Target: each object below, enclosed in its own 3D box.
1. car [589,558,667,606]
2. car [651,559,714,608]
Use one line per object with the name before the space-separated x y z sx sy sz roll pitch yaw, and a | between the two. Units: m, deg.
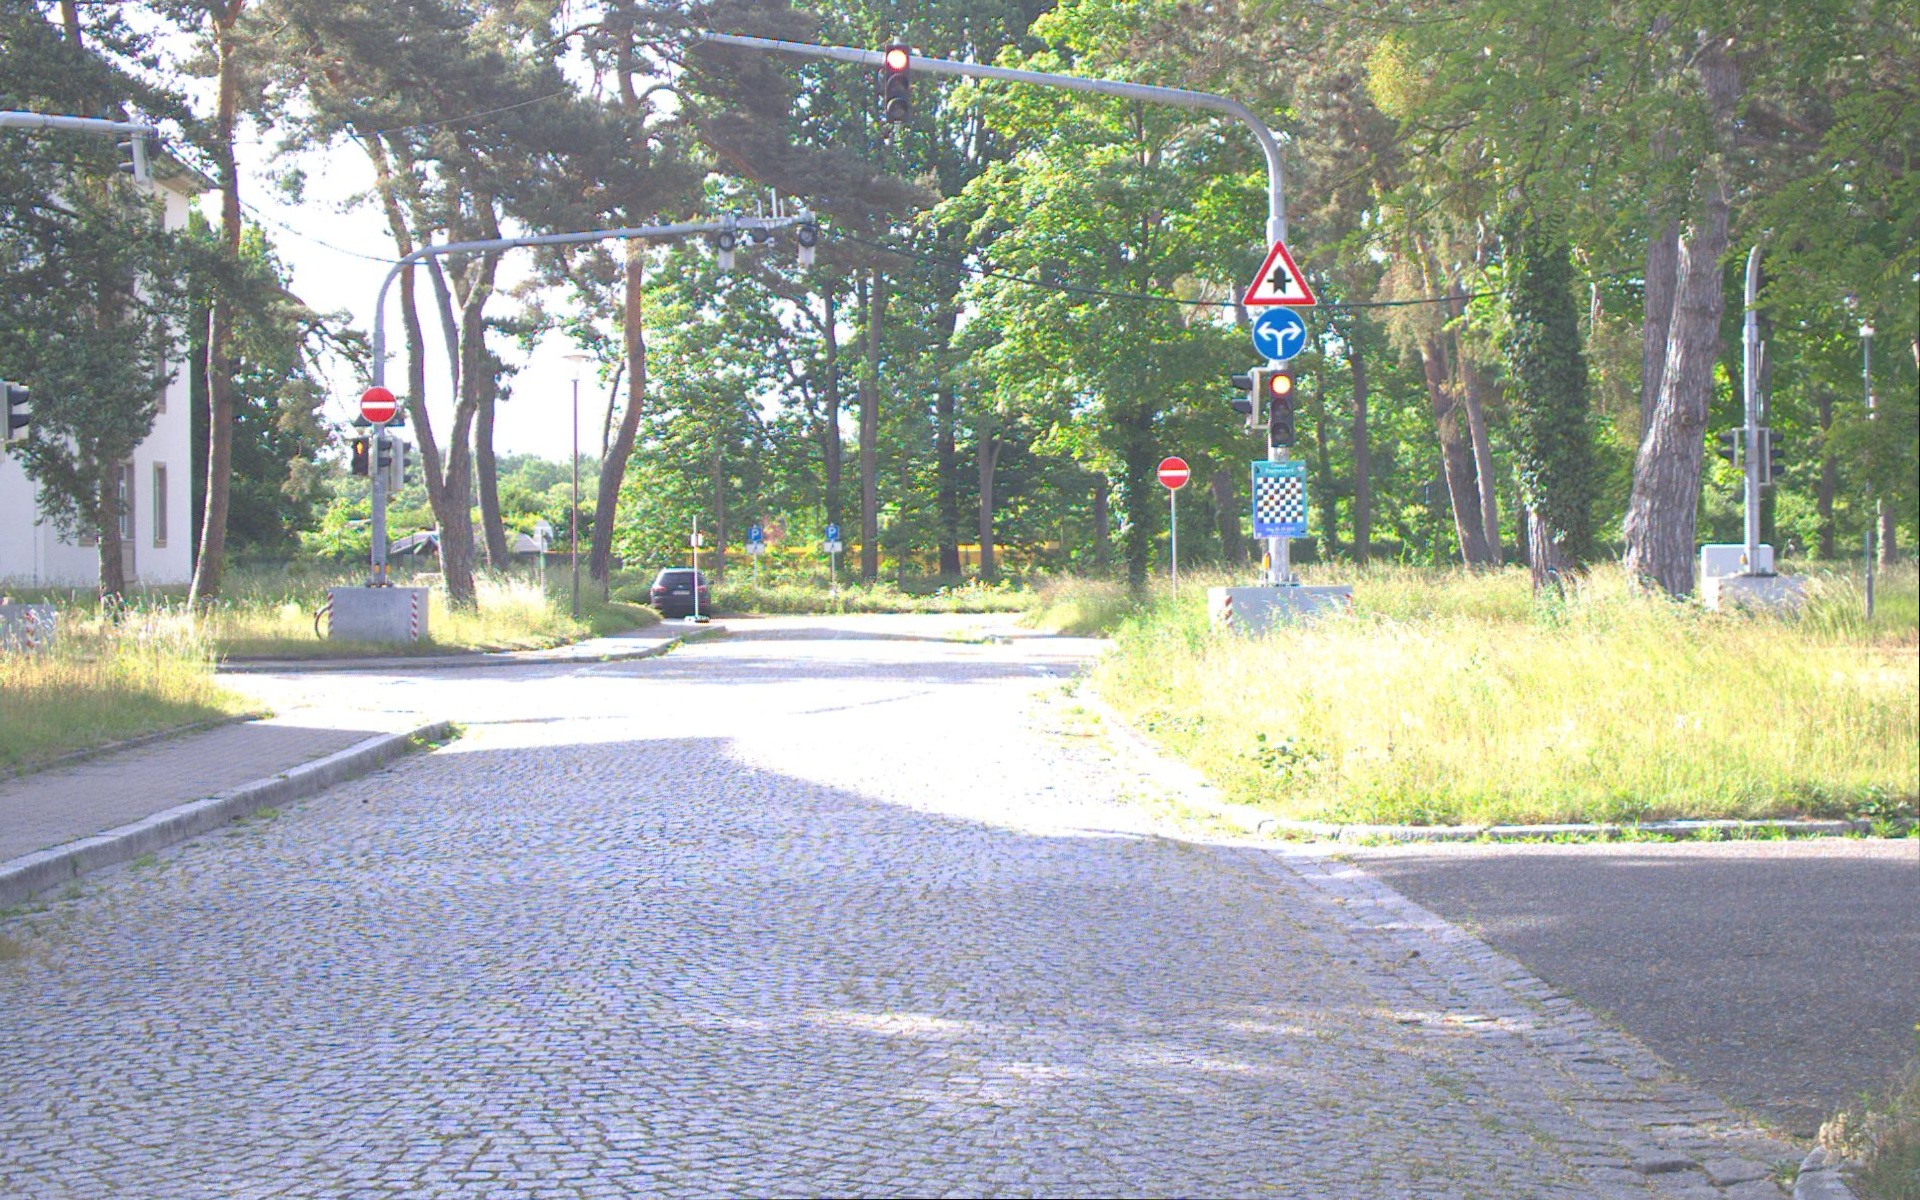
car | -10.667 -0.588 110.664 1.783 1.485 3.754 0 1 6
car | -8.536 -0.519 105.939 1.844 1.481 4.001 0 1 -4
